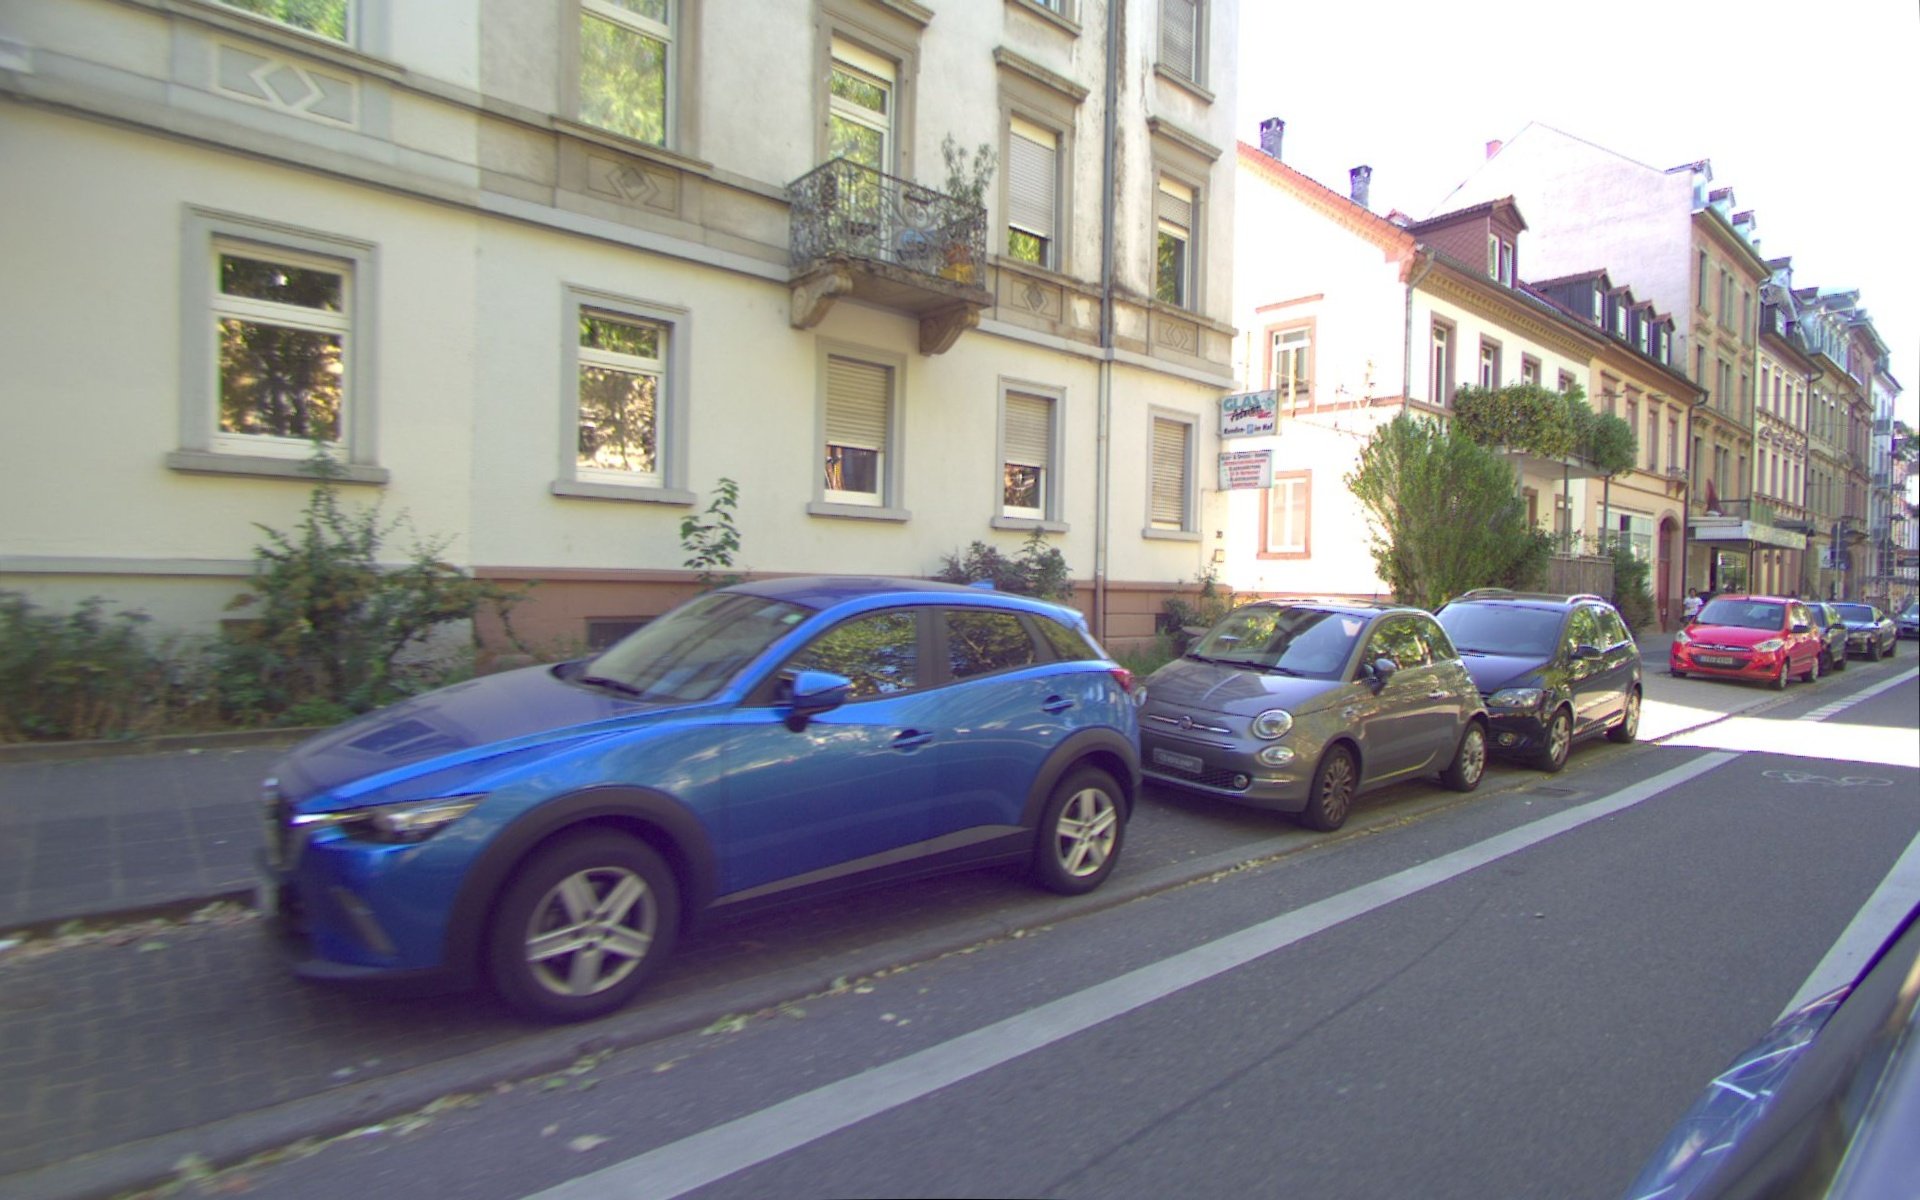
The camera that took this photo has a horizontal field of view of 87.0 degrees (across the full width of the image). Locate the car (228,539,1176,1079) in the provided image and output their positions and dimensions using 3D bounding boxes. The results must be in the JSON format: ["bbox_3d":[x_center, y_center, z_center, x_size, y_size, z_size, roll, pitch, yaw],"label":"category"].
[{"bbox_3d":[-1.005,0.541,4.842,3.954,1.473,1.885,0,5,-40],"label":"car"}]

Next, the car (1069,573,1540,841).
[{"bbox_3d":[2.789,0.595,7.839,3.703,1.473,1.803,-1,5,-42],"label":"car"}]

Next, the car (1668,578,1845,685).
[{"bbox_3d":[14.202,0.482,17.994,3.512,1.564,1.640,0,7,-40],"label":"car"}]

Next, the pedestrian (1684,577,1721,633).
[{"bbox_3d":[20.120,0.131,27.413,0.772,1.502,0.659,0,0,-41],"label":"pedestrian"}]

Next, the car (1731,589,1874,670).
[{"bbox_3d":[17.483,0.536,20.947,3.801,1.474,1.654,-1,3,-41],"label":"car"}]

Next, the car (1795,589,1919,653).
[{"bbox_3d":[22.785,0.466,25.617,4.414,1.409,1.698,0,3,-40],"label":"car"}]

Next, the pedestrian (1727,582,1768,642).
[{"bbox_3d":[20.790,0.297,26.716,0.851,1.523,0.661,0,2,-42],"label":"pedestrian"}]

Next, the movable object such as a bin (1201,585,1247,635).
[{"bbox_3d":[6.138,0.225,23.525,0.782,1.038,0.629,-12,8,-42],"label":"movable object such as a bin"}]

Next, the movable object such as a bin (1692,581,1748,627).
[{"bbox_3d":[26.201,0.123,34.883,1.264,1.539,1.296,0,1,-41],"label":"movable object such as a bin"}]

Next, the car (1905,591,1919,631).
[{"bbox_3d":[36.994,0.413,37.945,4.584,1.452,1.813,-1,3,-41],"label":"car"}]

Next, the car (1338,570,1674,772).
[{"bbox_3d":[5.815,0.564,10.595,3.867,1.604,1.883,-1,5,-43],"label":"car"}]
